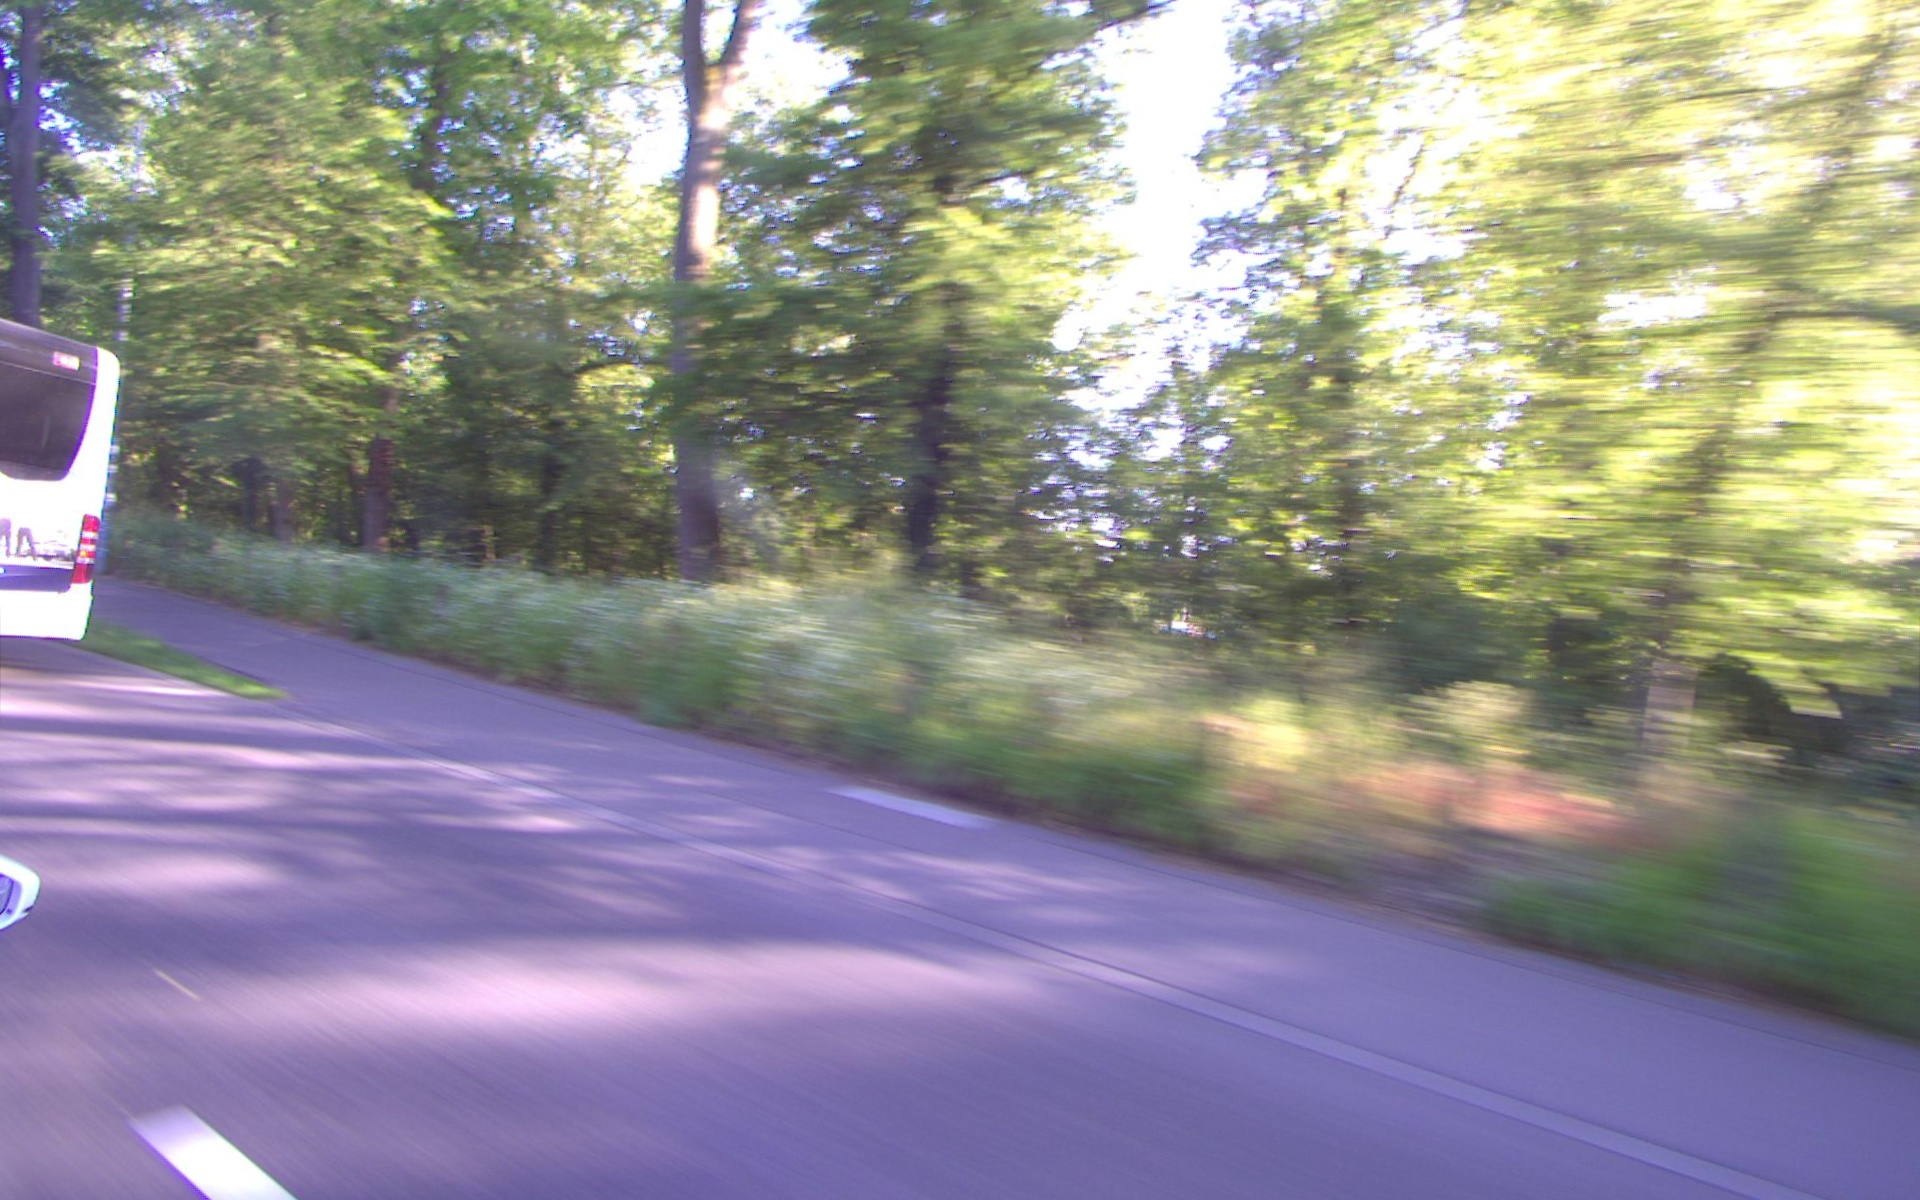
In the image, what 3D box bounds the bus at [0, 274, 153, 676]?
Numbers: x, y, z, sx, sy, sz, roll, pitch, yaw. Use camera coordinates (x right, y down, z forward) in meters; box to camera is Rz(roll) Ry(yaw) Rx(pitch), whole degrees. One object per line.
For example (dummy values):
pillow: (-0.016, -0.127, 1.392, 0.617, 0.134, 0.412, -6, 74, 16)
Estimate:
bus: (-12.838, -1.557, 10.317, 11.835, 3.078, 2.695, 6, -1, 29)
